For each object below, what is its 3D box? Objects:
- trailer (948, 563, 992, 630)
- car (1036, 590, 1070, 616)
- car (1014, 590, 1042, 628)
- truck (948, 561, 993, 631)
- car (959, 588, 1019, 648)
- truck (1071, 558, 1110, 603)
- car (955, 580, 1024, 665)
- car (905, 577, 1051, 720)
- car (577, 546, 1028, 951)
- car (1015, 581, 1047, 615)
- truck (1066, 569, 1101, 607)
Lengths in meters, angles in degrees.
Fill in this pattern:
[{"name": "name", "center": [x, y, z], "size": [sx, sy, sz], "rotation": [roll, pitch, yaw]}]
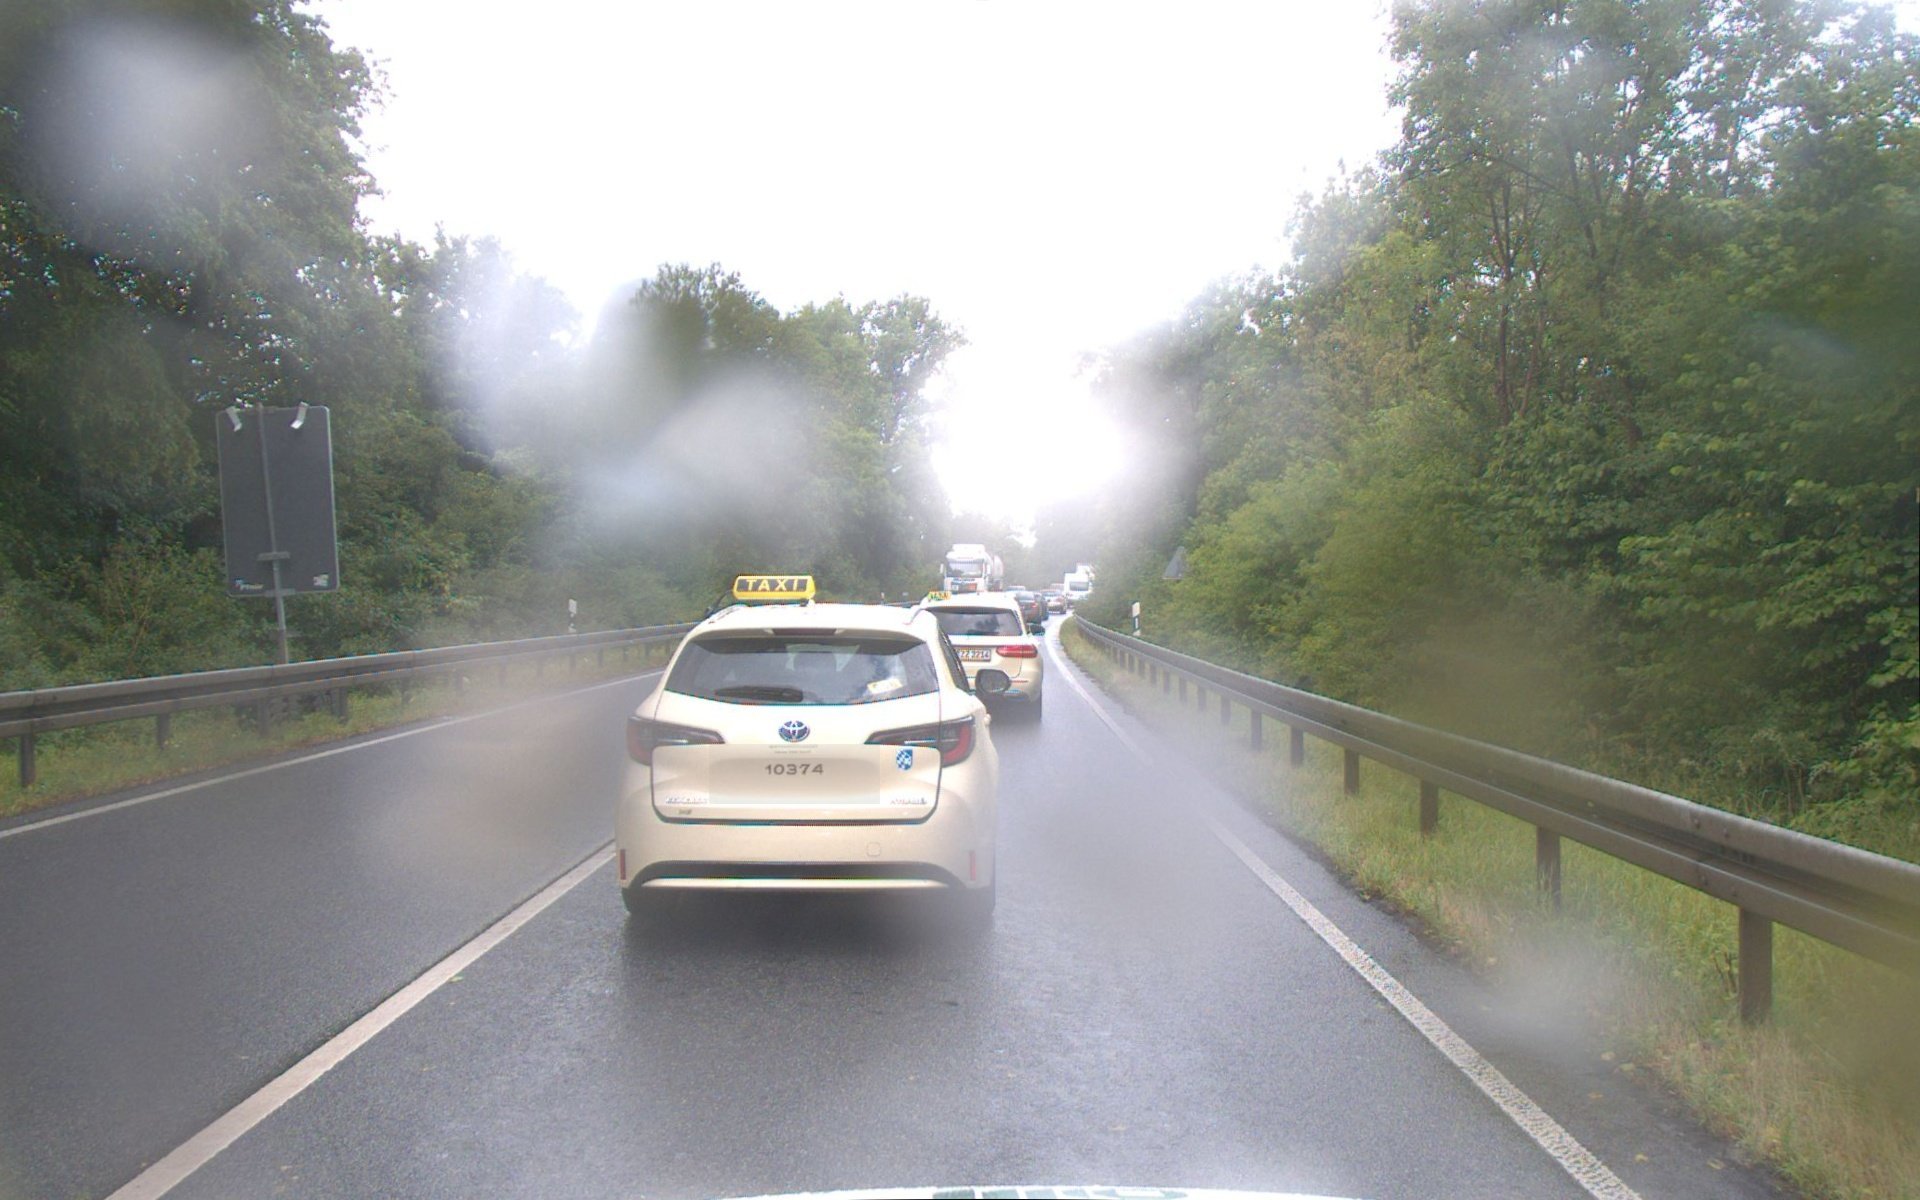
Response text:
[{"name": "trailer", "center": [0.691, -0.184, 101.910], "size": [2.483, 3.892, 7.793], "rotation": [1, 0, 1]}, {"name": "car", "center": [5.897, 0.181, 104.481], "size": [1.732, 1.574, 3.817], "rotation": [1, 0, 9]}, {"name": "car", "center": [2.879, 0.385, 69.790], "size": [1.143, 1.574, 2.605], "rotation": [1, 0, 2]}, {"name": "truck", "center": [0.633, -0.212, 96.527], "size": [2.484, 3.892, 5.245], "rotation": [1, 0, 0]}, {"name": "car", "center": [0.823, 0.472, 46.008], "size": [1.578, 1.574, 3.815], "rotation": [0, 0, 1]}, {"name": "truck", "center": [11.550, -1.661, 146.144], "size": [3.041, 3.745, 7.005], "rotation": [1, 0, 7]}, {"name": "car", "center": [0.585, 0.431, 32.669], "size": [1.274, 1.574, 3.260], "rotation": [1, 0, 1]}, {"name": "car", "center": [0.253, 0.565, 20.817], "size": [1.633, 1.608, 3.892], "rotation": [1, 0, 1]}, {"name": "car", "center": [-0.652, 0.613, 8.769], "size": [1.796, 1.608, 4.156], "rotation": [1, 0, -1]}, {"name": "car", "center": [3.581, -0.081, 83.871], "size": [1.582, 1.641, 3.622], "rotation": [1, 0, 2]}, {"name": "truck", "center": [9.444, -0.882, 127.259], "size": [2.496, 2.760, 7.538], "rotation": [1, 0, 3]}]
